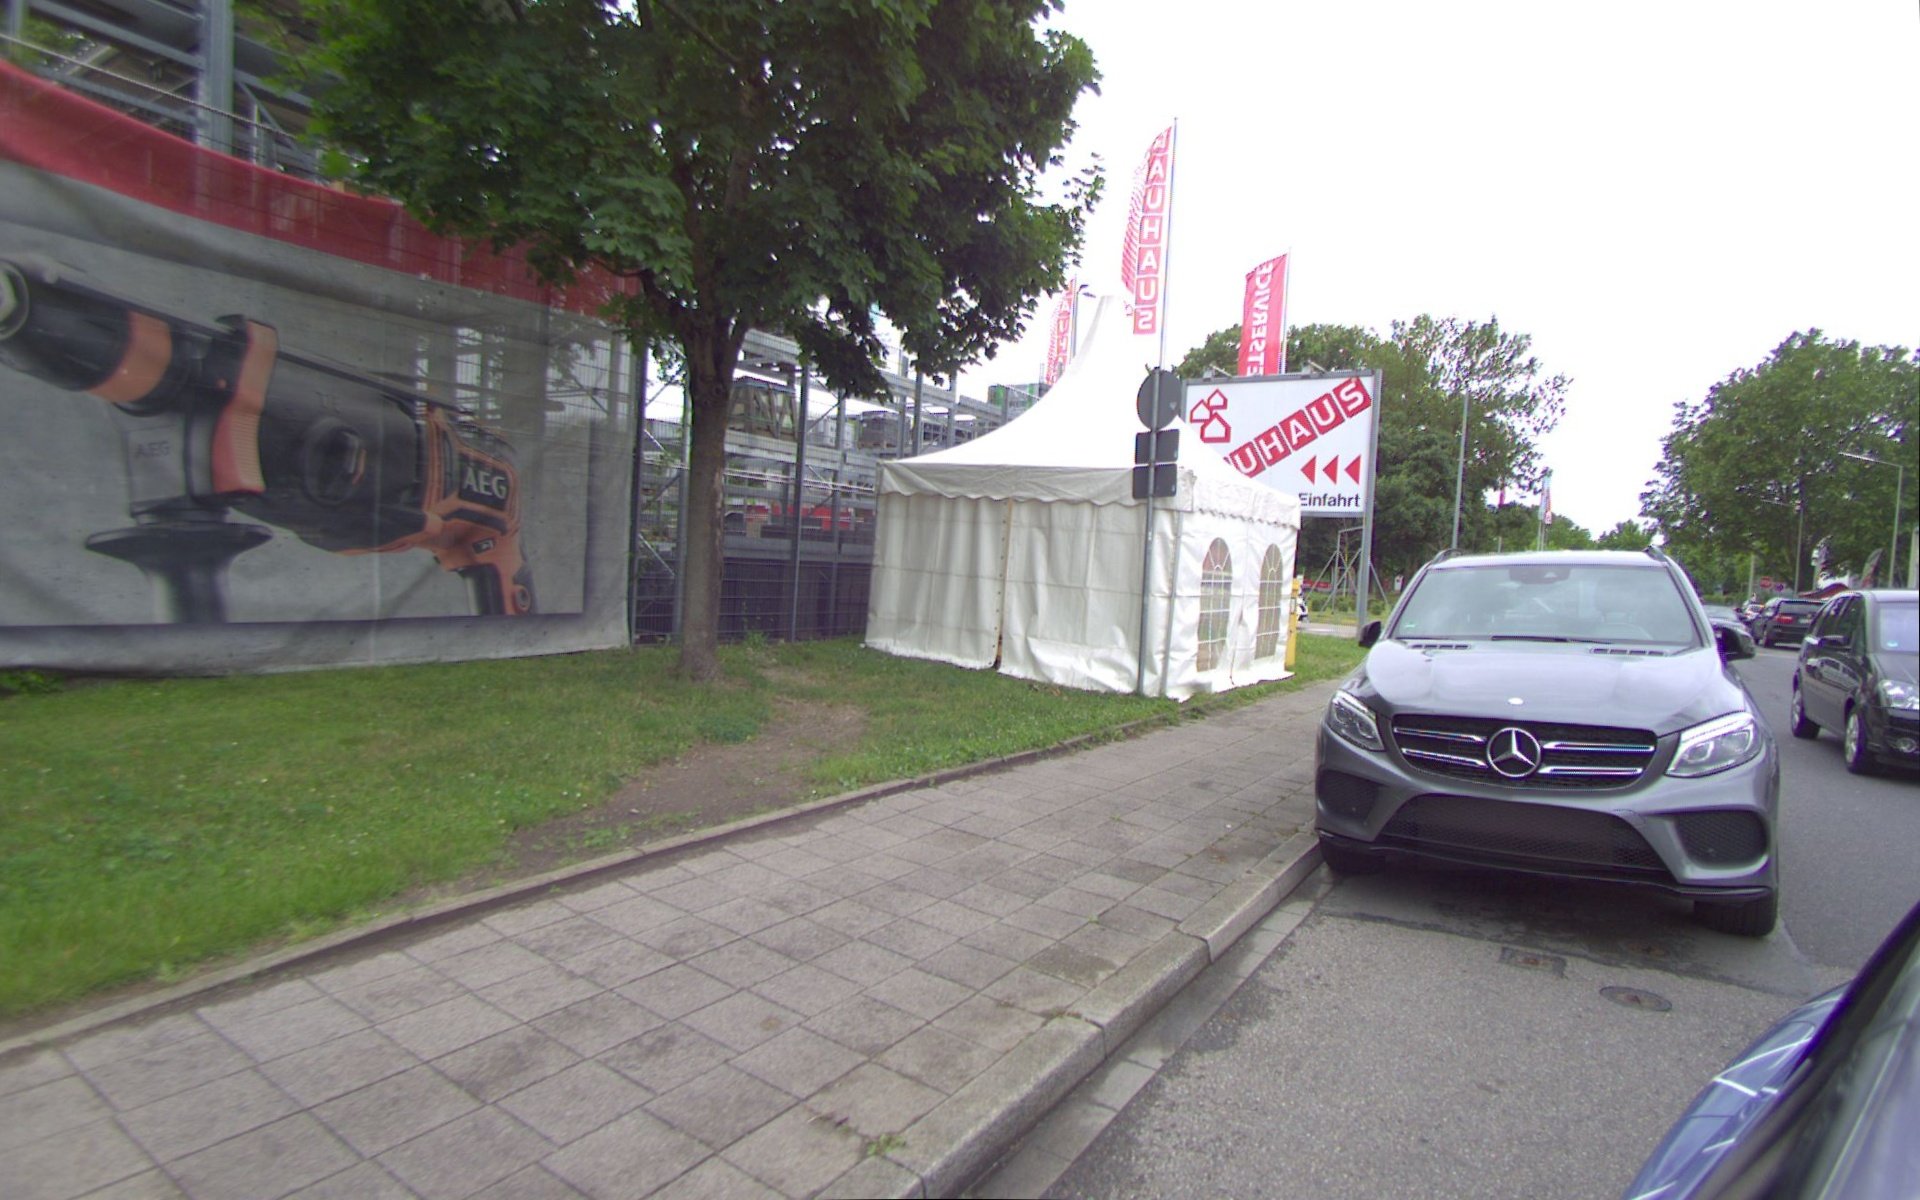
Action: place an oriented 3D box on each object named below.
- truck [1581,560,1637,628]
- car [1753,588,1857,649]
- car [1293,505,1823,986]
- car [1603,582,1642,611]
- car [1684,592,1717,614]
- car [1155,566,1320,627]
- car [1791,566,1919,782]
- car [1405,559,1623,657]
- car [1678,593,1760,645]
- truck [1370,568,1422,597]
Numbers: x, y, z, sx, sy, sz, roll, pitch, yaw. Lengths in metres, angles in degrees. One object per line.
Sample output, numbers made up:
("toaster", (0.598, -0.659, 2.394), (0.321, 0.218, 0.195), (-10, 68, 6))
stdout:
("truck", (26.504, -0.265, 41.353), (1.841, 2.645, 3.953), (1, 1, 33))
("car", (28.071, 0.542, 33.766), (1.953, 1.681, 4.598), (7, 4, 33))
("car", (3.588, 0.501, 6.090), (1.902, 1.763, 4.426), (1, 1, 34))
("car", (43.432, -0.241, 66.324), (1.988, 1.771, 3.950), (5, 3, 34))
("car", (60.454, 0.195, 82.674), (1.918, 1.593, 3.951), (5, 3, 34))
("car", (7.715, -0.137, 28.273), (4.090, 1.438, 1.709), (4, 3, 35))
("car", (8.874, 0.597, 9.006), (1.674, 1.652, 3.717), (4, 3, 31))
("car", (13.356, 0.122, 24.541), (4.355, 1.828, 1.780), (7, 4, 33))
("car", (23.397, 0.530, 31.335), (1.739, 1.375, 4.088), (3, 2, 33))
("truck", (40.593, -1.622, 94.165), (3.915, 2.425, 2.005), (2, 2, -17))
